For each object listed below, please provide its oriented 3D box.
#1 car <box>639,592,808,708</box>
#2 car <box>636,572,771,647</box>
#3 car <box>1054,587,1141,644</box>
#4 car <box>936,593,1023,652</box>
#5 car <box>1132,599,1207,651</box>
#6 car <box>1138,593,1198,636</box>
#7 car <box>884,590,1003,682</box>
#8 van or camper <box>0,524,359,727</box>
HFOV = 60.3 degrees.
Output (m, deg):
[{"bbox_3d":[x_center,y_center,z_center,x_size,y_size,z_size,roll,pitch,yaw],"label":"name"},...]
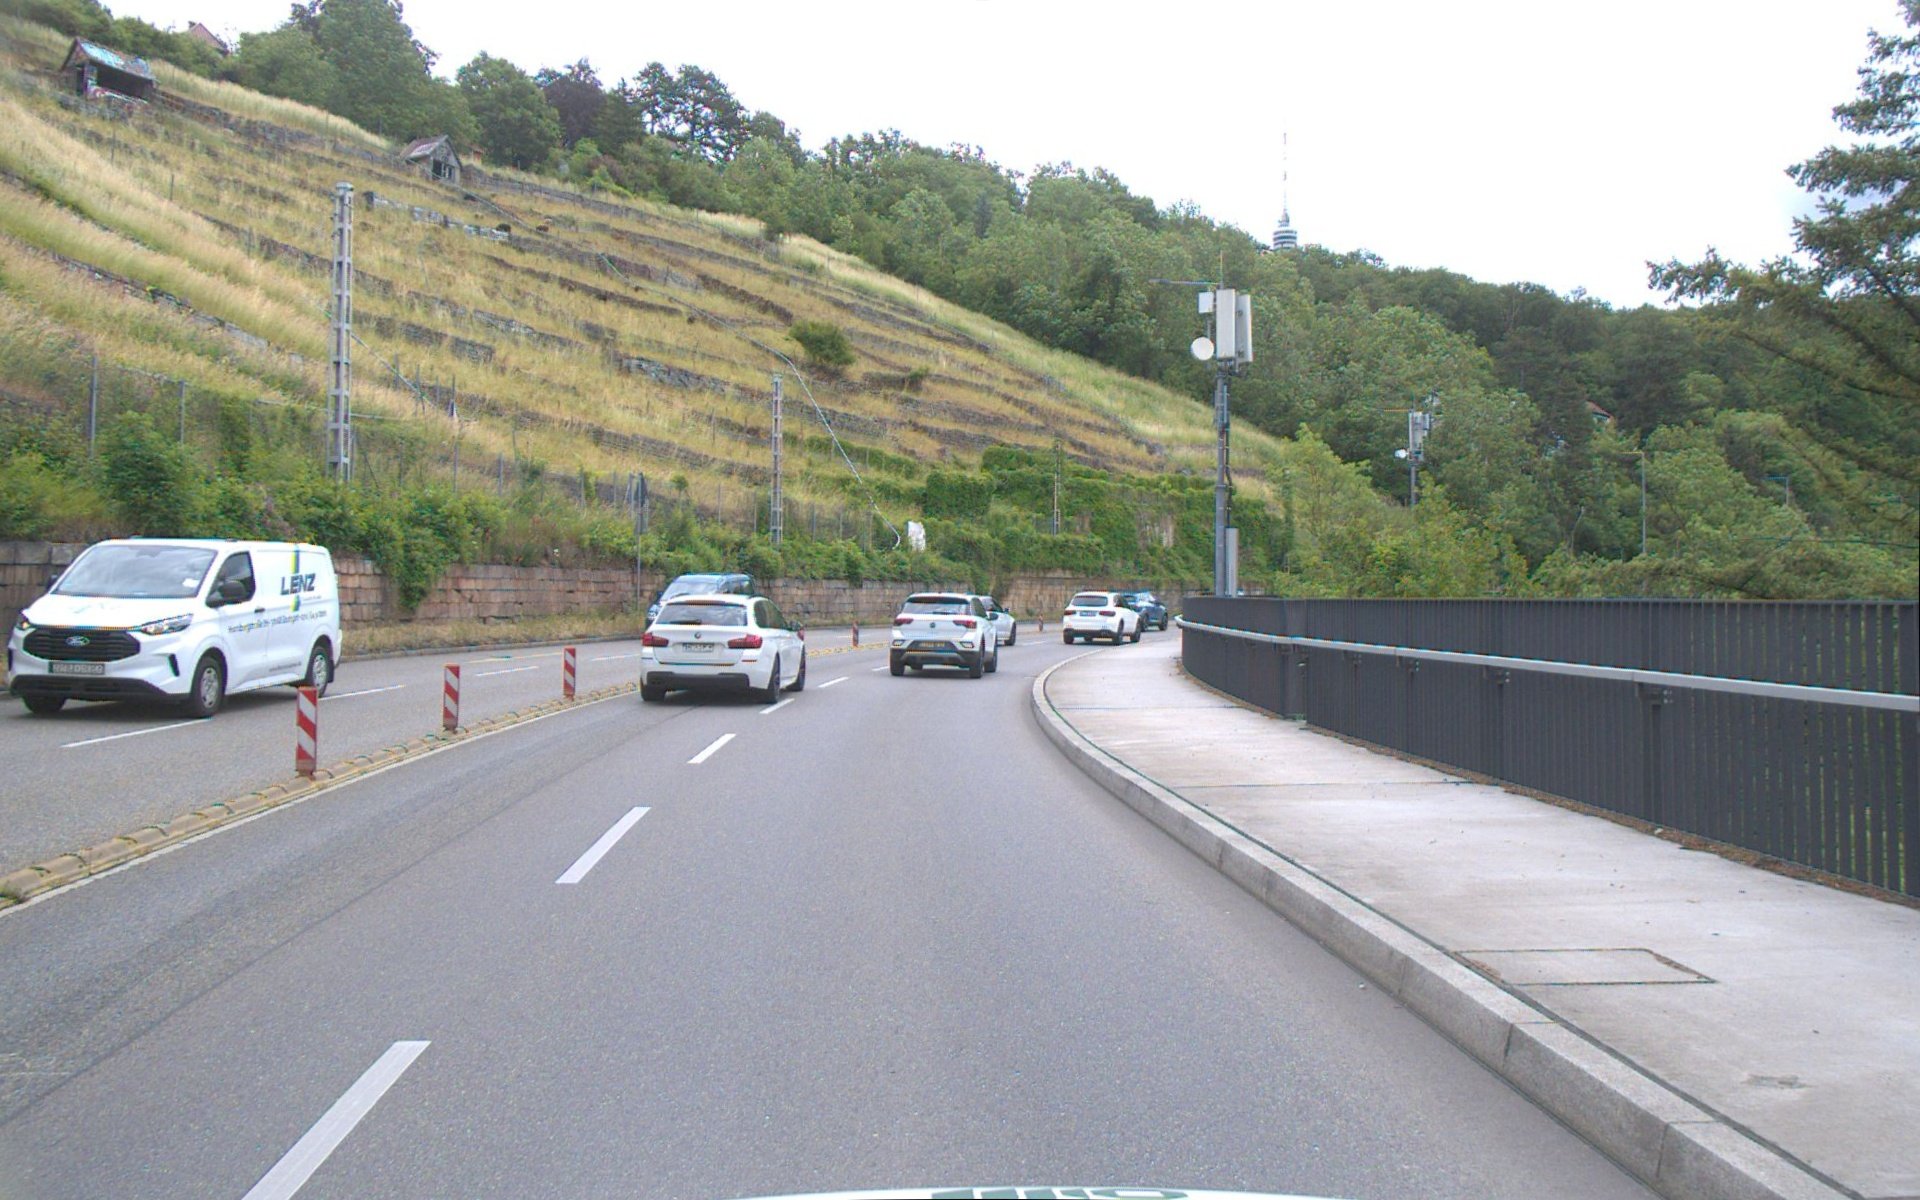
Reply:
[{"bbox_3d":[-3.280,0.648,23.736,1.790,1.485,4.485,1,0,0],"label":"car"},{"bbox_3d":[-6.704,0.219,43.774,1.811,1.813,4.737,2,1,14],"label":"car"},{"bbox_3d":[4.476,0.460,53.228,1.951,1.748,4.116,-1,0,17],"label":"car"},{"bbox_3d":[0.627,0.675,48.359,1.951,1.529,4.670,-4,-2,7],"label":"car"},{"bbox_3d":[8.897,1.049,70.026,1.954,2.049,3.997,-3,-2,25],"label":"car"},{"bbox_3d":[9.843,0.724,77.979,1.831,1.793,3.998,-2,-4,22],"label":"car"},{"bbox_3d":[-0.255,0.641,32.271,1.789,1.634,4.003,1,0,7],"label":"car"},{"bbox_3d":[-9.152,0.234,19.685,2.104,2.051,4.964,2,1,0],"label":"van or camper"}]
